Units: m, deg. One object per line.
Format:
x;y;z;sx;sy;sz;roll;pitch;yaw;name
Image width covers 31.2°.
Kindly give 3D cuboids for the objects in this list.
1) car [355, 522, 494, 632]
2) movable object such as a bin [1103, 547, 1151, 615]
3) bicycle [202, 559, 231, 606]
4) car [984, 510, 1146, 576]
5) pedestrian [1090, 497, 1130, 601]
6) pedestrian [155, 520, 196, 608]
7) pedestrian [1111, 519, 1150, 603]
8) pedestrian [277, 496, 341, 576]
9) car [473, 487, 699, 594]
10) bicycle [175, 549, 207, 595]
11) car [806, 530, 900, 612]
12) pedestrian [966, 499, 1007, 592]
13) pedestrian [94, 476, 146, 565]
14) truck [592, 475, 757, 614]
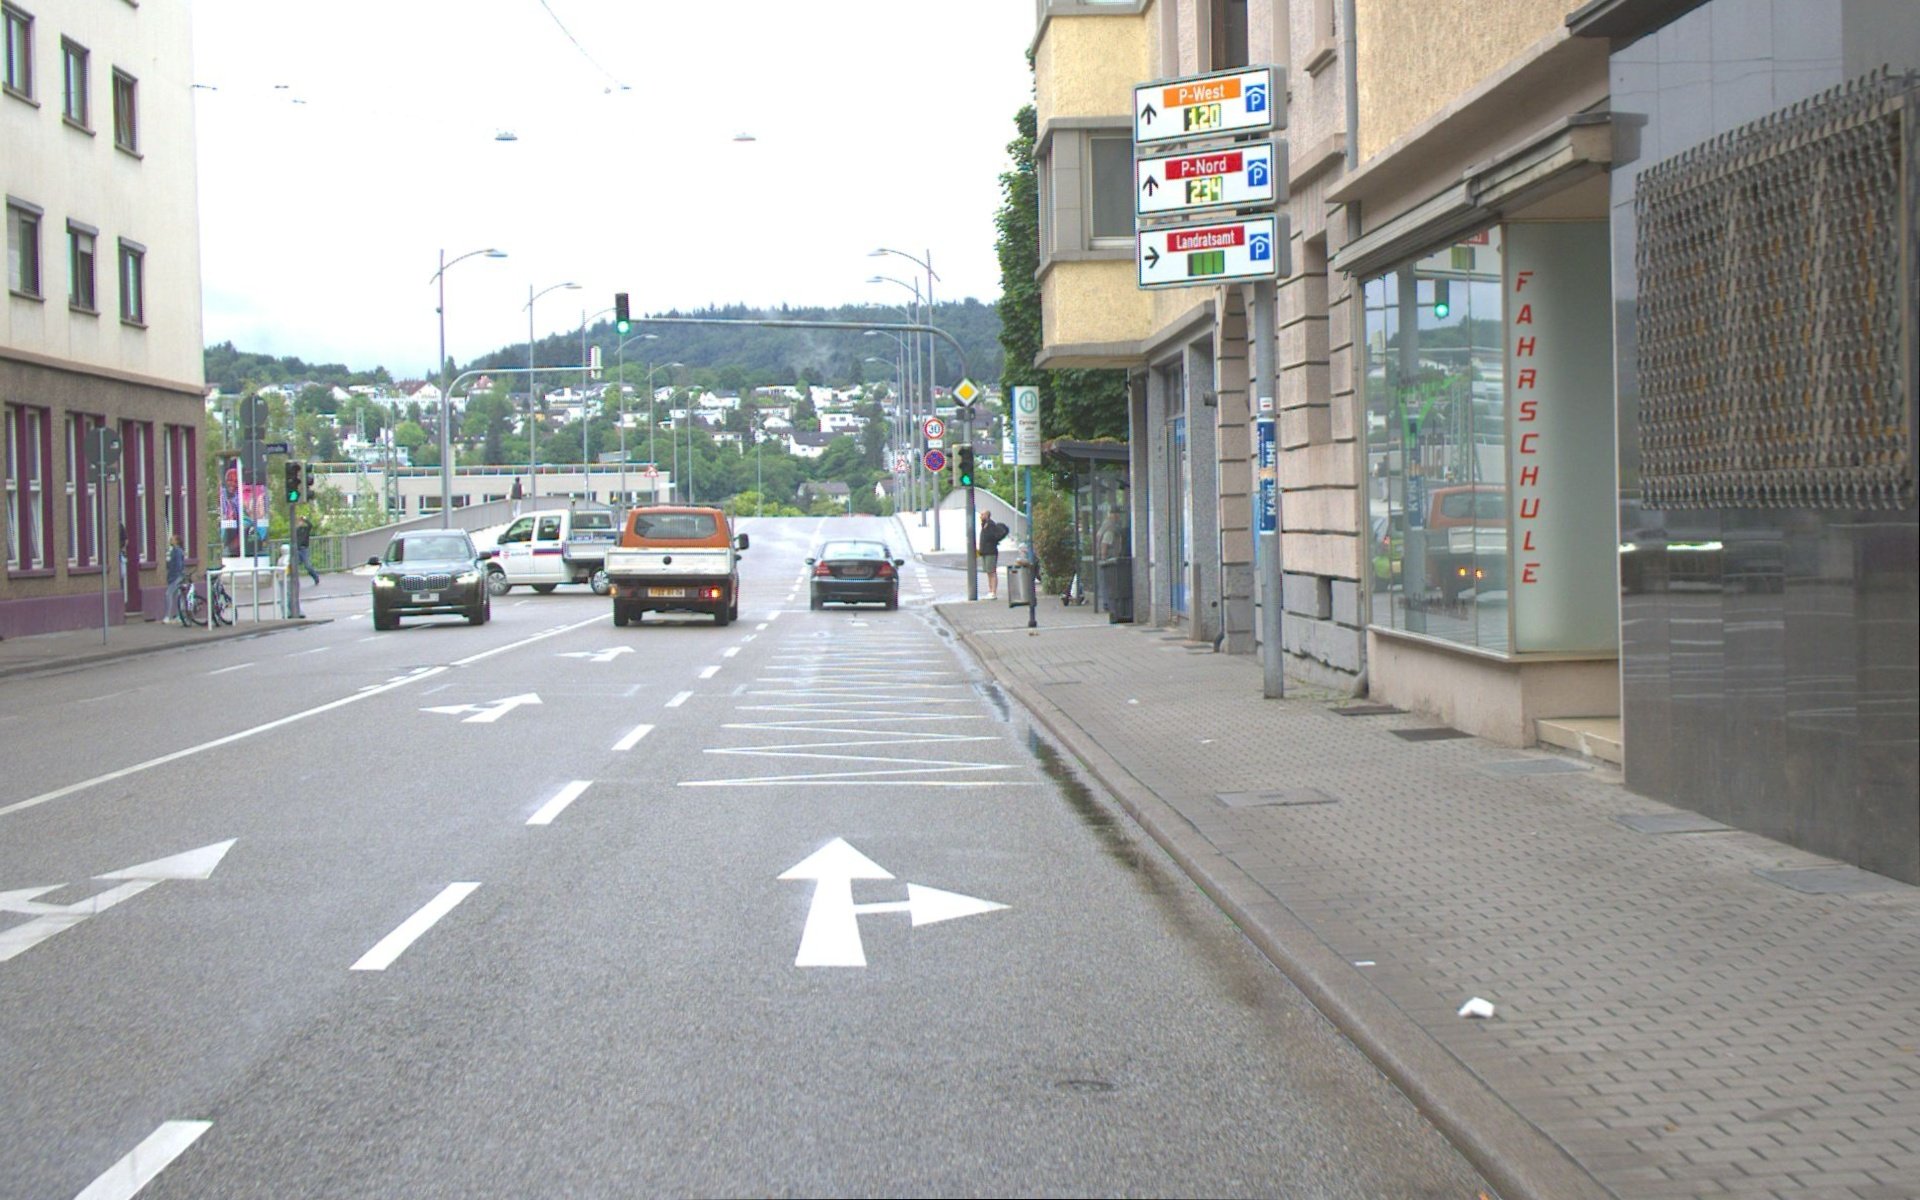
-9.274;-0.439;59.844;1.930;1.751;4.574;-1;2;-3;car
2.353;-0.274;48.575;0.600;0.923;0.704;-1;2;-2;movable object such as a bin
-13.099;-0.310;60.585;0.264;0.780;1.111;-1;2;-2;bicycle
2.632;-1.440;86.456;3.987;1.546;2.000;-1;2;1;car
2.466;-0.845;56.635;0.619;1.693;0.656;-1;2;2;pedestrian
-14.145;-0.652;62.028;0.574;1.548;0.740;-1;2;-4;pedestrian
2.865;-0.662;57.858;0.563;1.392;0.514;-1;2;-4;pedestrian
-16.547;-1.624;87.396;0.984;2.006;1.171;0;2;37;pedestrian
-8.653;-1.364;79.366;5.002;2.342;1.996;0;2;34;car
-13.480;-0.496;60.307;0.264;0.780;1.422;-1;2;-2;bicycle
-2.086;-0.584;67.230;1.754;1.474;4.001;-1;2;-1;car
0.533;-1.093;68.790;0.733;1.835;0.631;-1;2;-3;pedestrian
-15.155;-1.439;62.039;0.773;1.572;0.589;-1;2;-2;pedestrian
-4.642;-0.958;56.742;2.399;2.122;5.316;-1;2;-2;truck
